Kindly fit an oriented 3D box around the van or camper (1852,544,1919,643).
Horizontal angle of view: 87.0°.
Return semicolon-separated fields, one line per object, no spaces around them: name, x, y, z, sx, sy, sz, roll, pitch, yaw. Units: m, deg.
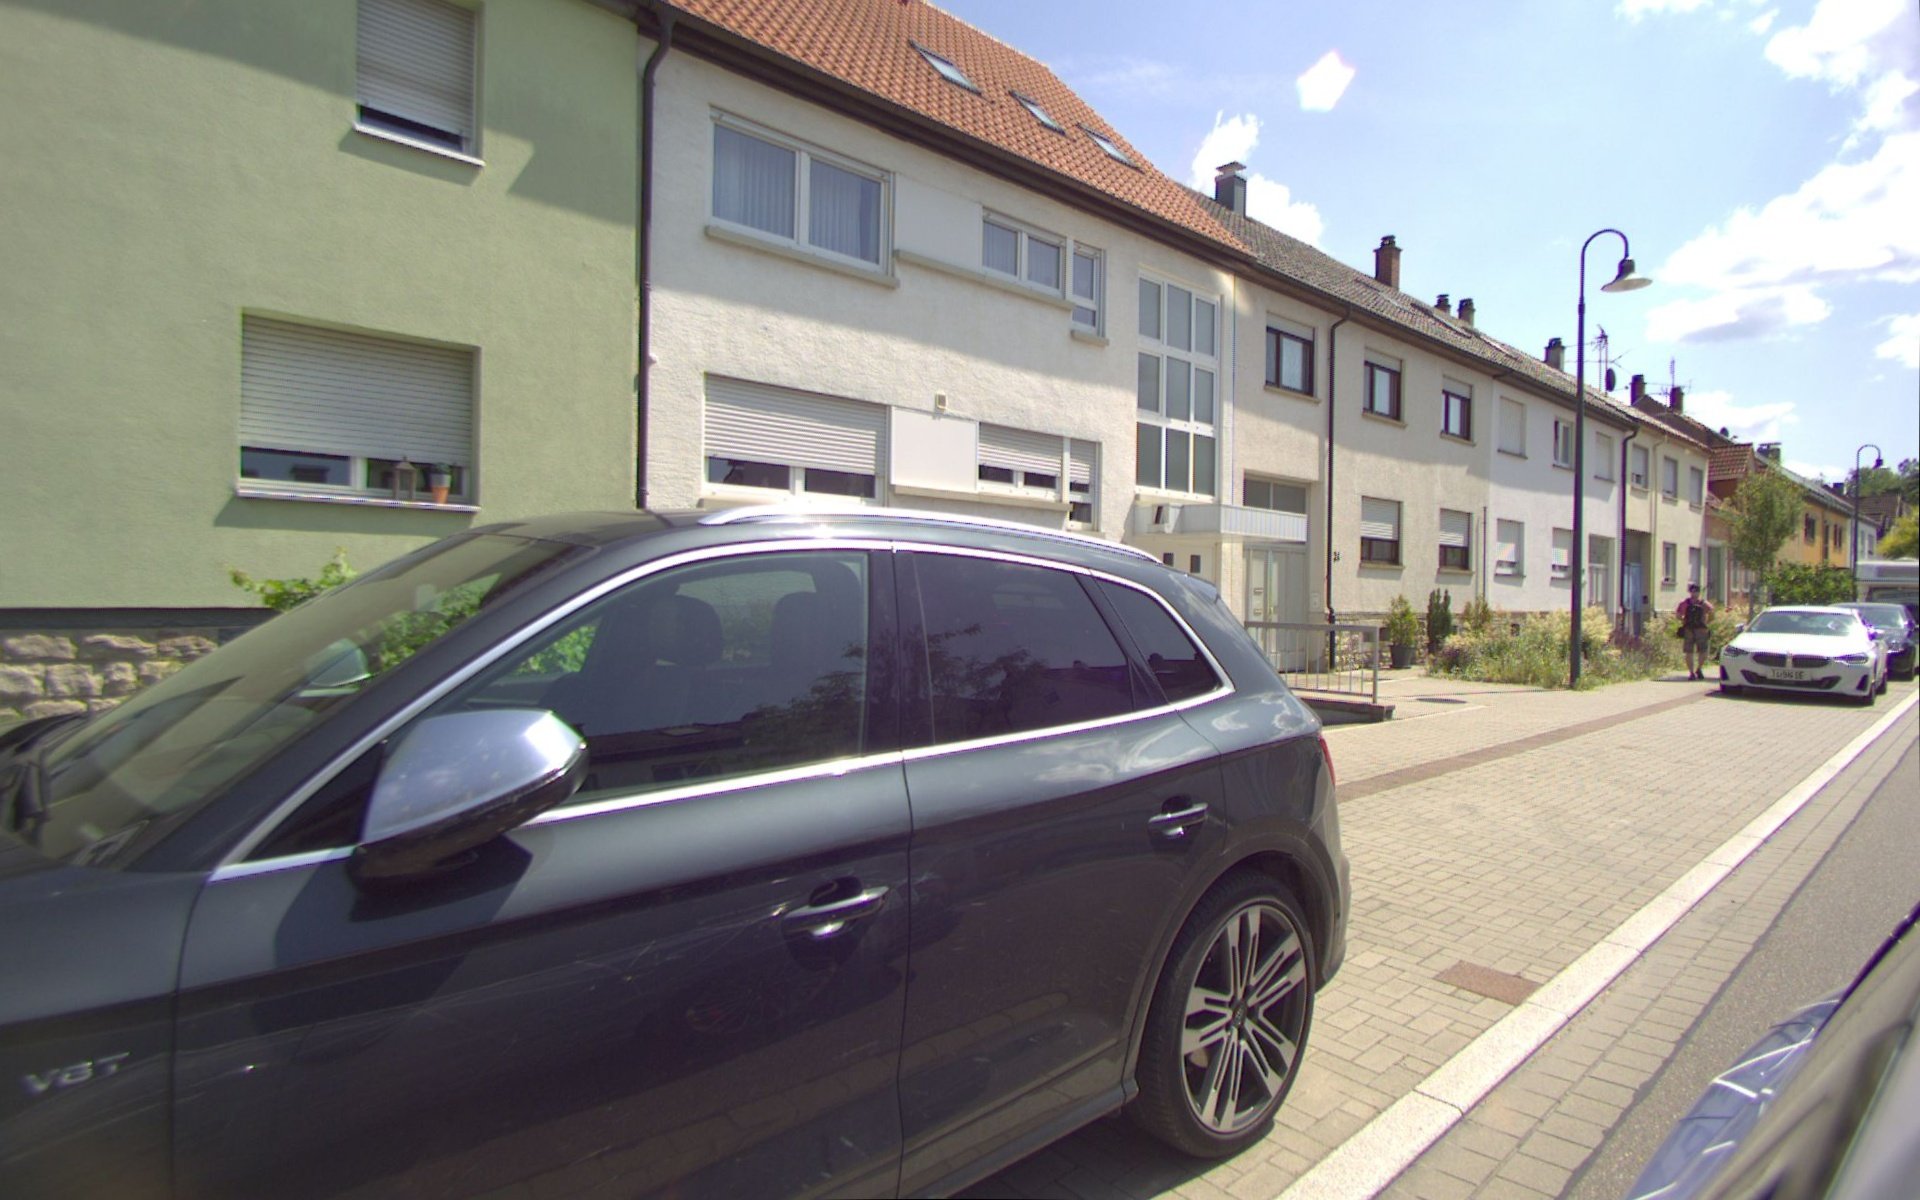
van or camper;29.640;-0.177;31.313;5.692;2.845;2.476;0;2;-43

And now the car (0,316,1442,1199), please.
car;-0.804;0.496;2.432;4.367;1.655;1.868;1;3;-41

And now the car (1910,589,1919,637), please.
car;37.117;0.483;38.000;4.251;1.726;1.769;0;1;-43

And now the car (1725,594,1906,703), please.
car;13.763;0.659;16.191;4.446;1.484;1.833;0;1;-45

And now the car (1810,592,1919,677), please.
car;18.845;0.631;20.677;3.939;1.549;1.769;0;1;-42

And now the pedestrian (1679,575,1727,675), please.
pedestrian;13.488;0.440;18.371;0.661;1.770;0.558;0;2;-42
